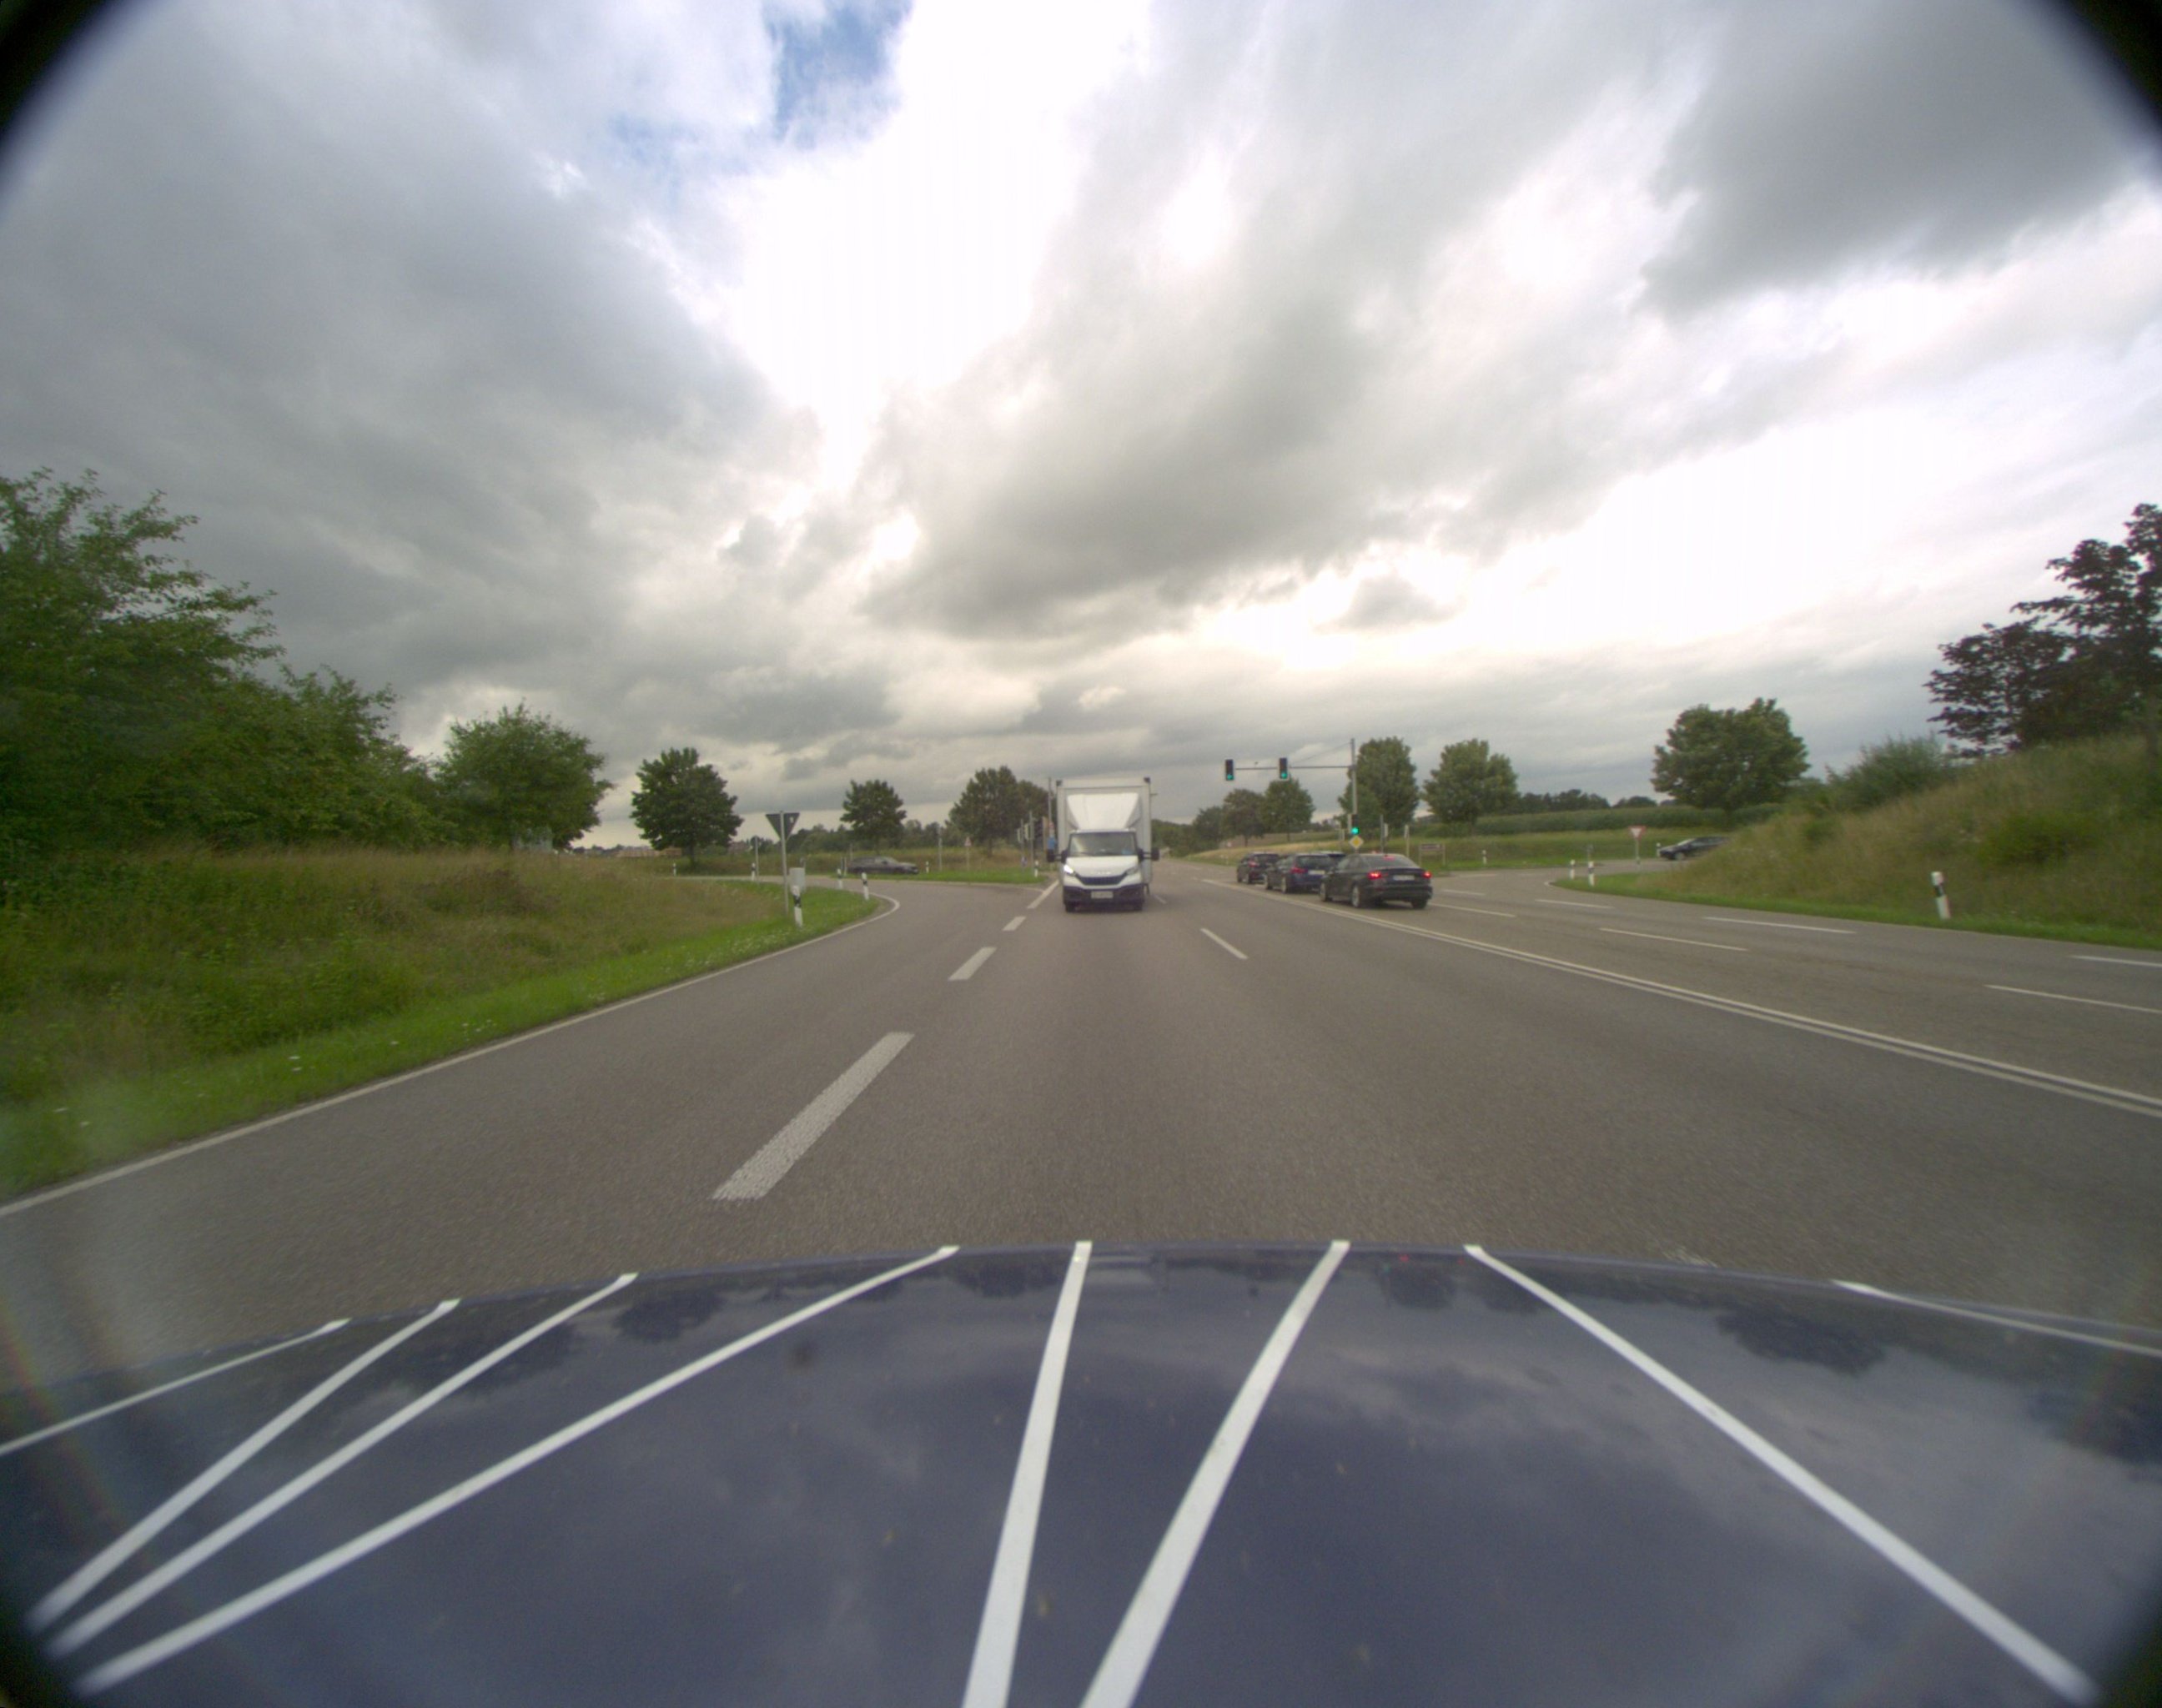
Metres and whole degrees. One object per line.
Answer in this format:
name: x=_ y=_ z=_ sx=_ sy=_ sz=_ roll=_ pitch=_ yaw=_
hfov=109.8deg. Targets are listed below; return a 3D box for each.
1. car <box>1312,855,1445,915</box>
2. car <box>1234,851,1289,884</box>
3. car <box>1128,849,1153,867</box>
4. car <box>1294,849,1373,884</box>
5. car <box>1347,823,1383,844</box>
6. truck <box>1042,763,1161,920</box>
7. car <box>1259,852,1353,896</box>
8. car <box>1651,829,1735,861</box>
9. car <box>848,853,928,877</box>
car: x=7.840 y=0.739 z=20.535 sx=1.770 sy=1.375 sz=4.543 roll=-1 pitch=1 yaw=-1
car: x=8.334 y=0.592 z=35.340 sx=1.730 sy=1.435 sz=3.944 roll=-1 pitch=0 yaw=2
car: x=5.486 y=0.336 z=70.602 sx=1.998 sy=1.555 sz=4.748 roll=-2 pitch=0 yaw=2
car: x=11.963 y=0.525 z=36.364 sx=2.050 sy=1.526 sz=5.125 roll=-1 pitch=0 yaw=0
car: x=30.446 y=-2.197 z=81.565 sx=1.999 sy=2.002 sz=3.998 roll=-3 pitch=0 yaw=-5
truck: x=0.642 y=-0.347 z=22.737 sx=2.837 sy=3.742 sz=8.800 roll=-1 pitch=1 yaw=2
car: x=8.050 y=0.657 z=27.718 sx=2.053 sy=1.475 sz=4.881 roll=0 pitch=0 yaw=1
car: x=40.876 y=-0.585 z=50.853 sx=3.997 sy=2.002 sz=2.000 roll=-1 pitch=1 yaw=1
car: x=-12.719 y=0.715 z=50.241 sx=4.660 sy=1.494 sz=2.001 roll=-1 pitch=1 yaw=10
